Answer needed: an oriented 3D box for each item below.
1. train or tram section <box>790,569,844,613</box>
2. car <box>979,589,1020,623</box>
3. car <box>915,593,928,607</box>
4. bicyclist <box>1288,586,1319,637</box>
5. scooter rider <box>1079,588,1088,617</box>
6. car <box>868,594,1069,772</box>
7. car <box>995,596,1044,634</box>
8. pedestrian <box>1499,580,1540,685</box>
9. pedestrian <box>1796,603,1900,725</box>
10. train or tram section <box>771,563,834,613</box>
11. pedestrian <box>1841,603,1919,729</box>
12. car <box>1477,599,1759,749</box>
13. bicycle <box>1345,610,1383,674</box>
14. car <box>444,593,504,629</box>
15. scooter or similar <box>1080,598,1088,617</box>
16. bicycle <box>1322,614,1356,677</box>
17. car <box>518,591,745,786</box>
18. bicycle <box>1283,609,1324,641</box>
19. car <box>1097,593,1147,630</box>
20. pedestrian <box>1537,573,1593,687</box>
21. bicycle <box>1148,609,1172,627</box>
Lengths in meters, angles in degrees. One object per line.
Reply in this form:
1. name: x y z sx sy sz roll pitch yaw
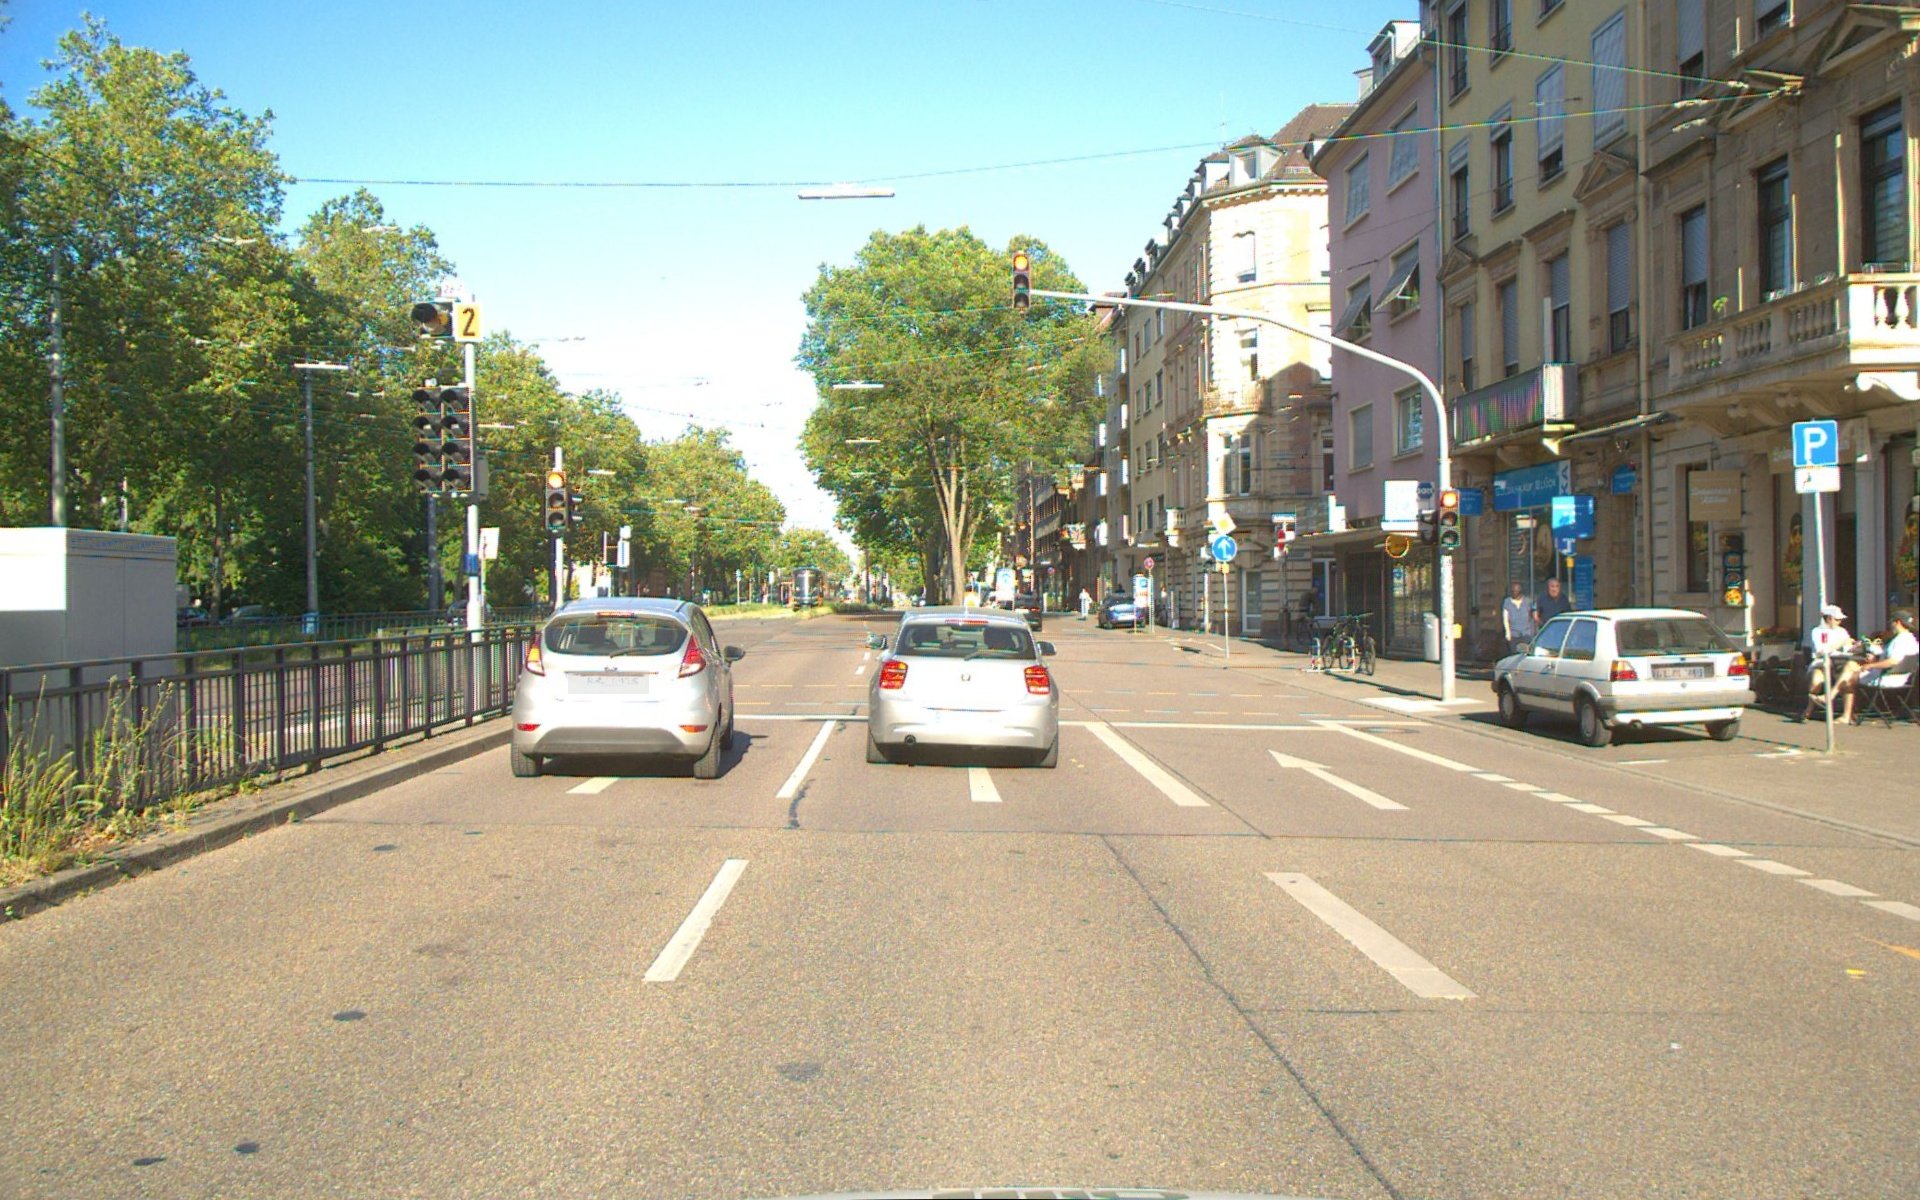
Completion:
1. train or tram section: -13.389 -0.833 156.536 3.924 3.933 17.485 0 0 -1
2. car: 1.841 0.254 77.751 1.690 1.533 3.553 1 0 -2
3. car: -5.914 -0.033 252.798 1.953 2.049 3.999 -1 0 -1
4. bicyclist: 10.353 0.343 49.847 0.538 1.528 0.956 0 0 40
5. scooter rider: 6.609 0.115 88.556 0.456 1.531 0.811 0 -1 1
6. car: 0.041 0.713 16.309 1.705 1.493 3.999 1 0 -1
7. car: 2.375 0.594 66.894 1.701 1.458 3.676 1 0 -2
8. pedestrian: 9.328 0.543 27.574 0.538 1.738 0.388 0 0 2
9. pedestrian: 10.087 0.717 18.807 0.782 1.303 0.608 -4 0 -3
10. train or tram section: -13.077 -0.999 139.067 3.888 3.933 17.485 0 0 -1
11. pedestrian: 10.317 0.710 18.149 0.883 1.304 0.655 -2 0 -6
12. car: 7.430 0.763 19.100 1.531 1.440 4.003 -4 0 -1
13. bicycle: 7.866 0.804 32.247 0.439 1.179 1.759 0 0 5
14. car: -21.421 0.455 73.025 1.650 1.525 4.340 0 0 -4
15. scooter or similar: 6.640 0.397 88.650 0.330 1.005 1.284 0 0 0
16. bicycle: 7.376 0.866 32.242 0.405 1.161 1.810 0 0 5
17. car: -2.793 0.672 14.749 1.578 1.493 3.885 0 0 -5
18. bicycle: 10.358 0.753 49.833 0.642 0.919 1.331 0 0 40
19. car: 7.108 0.472 72.744 1.700 1.546 3.635 1 0 -2
20. pedestrian: 9.981 0.491 27.302 0.659 1.838 0.530 -2 0 -1
21. bicycle: 8.835 0.782 73.208 0.739 0.784 1.944 0 0 -2
